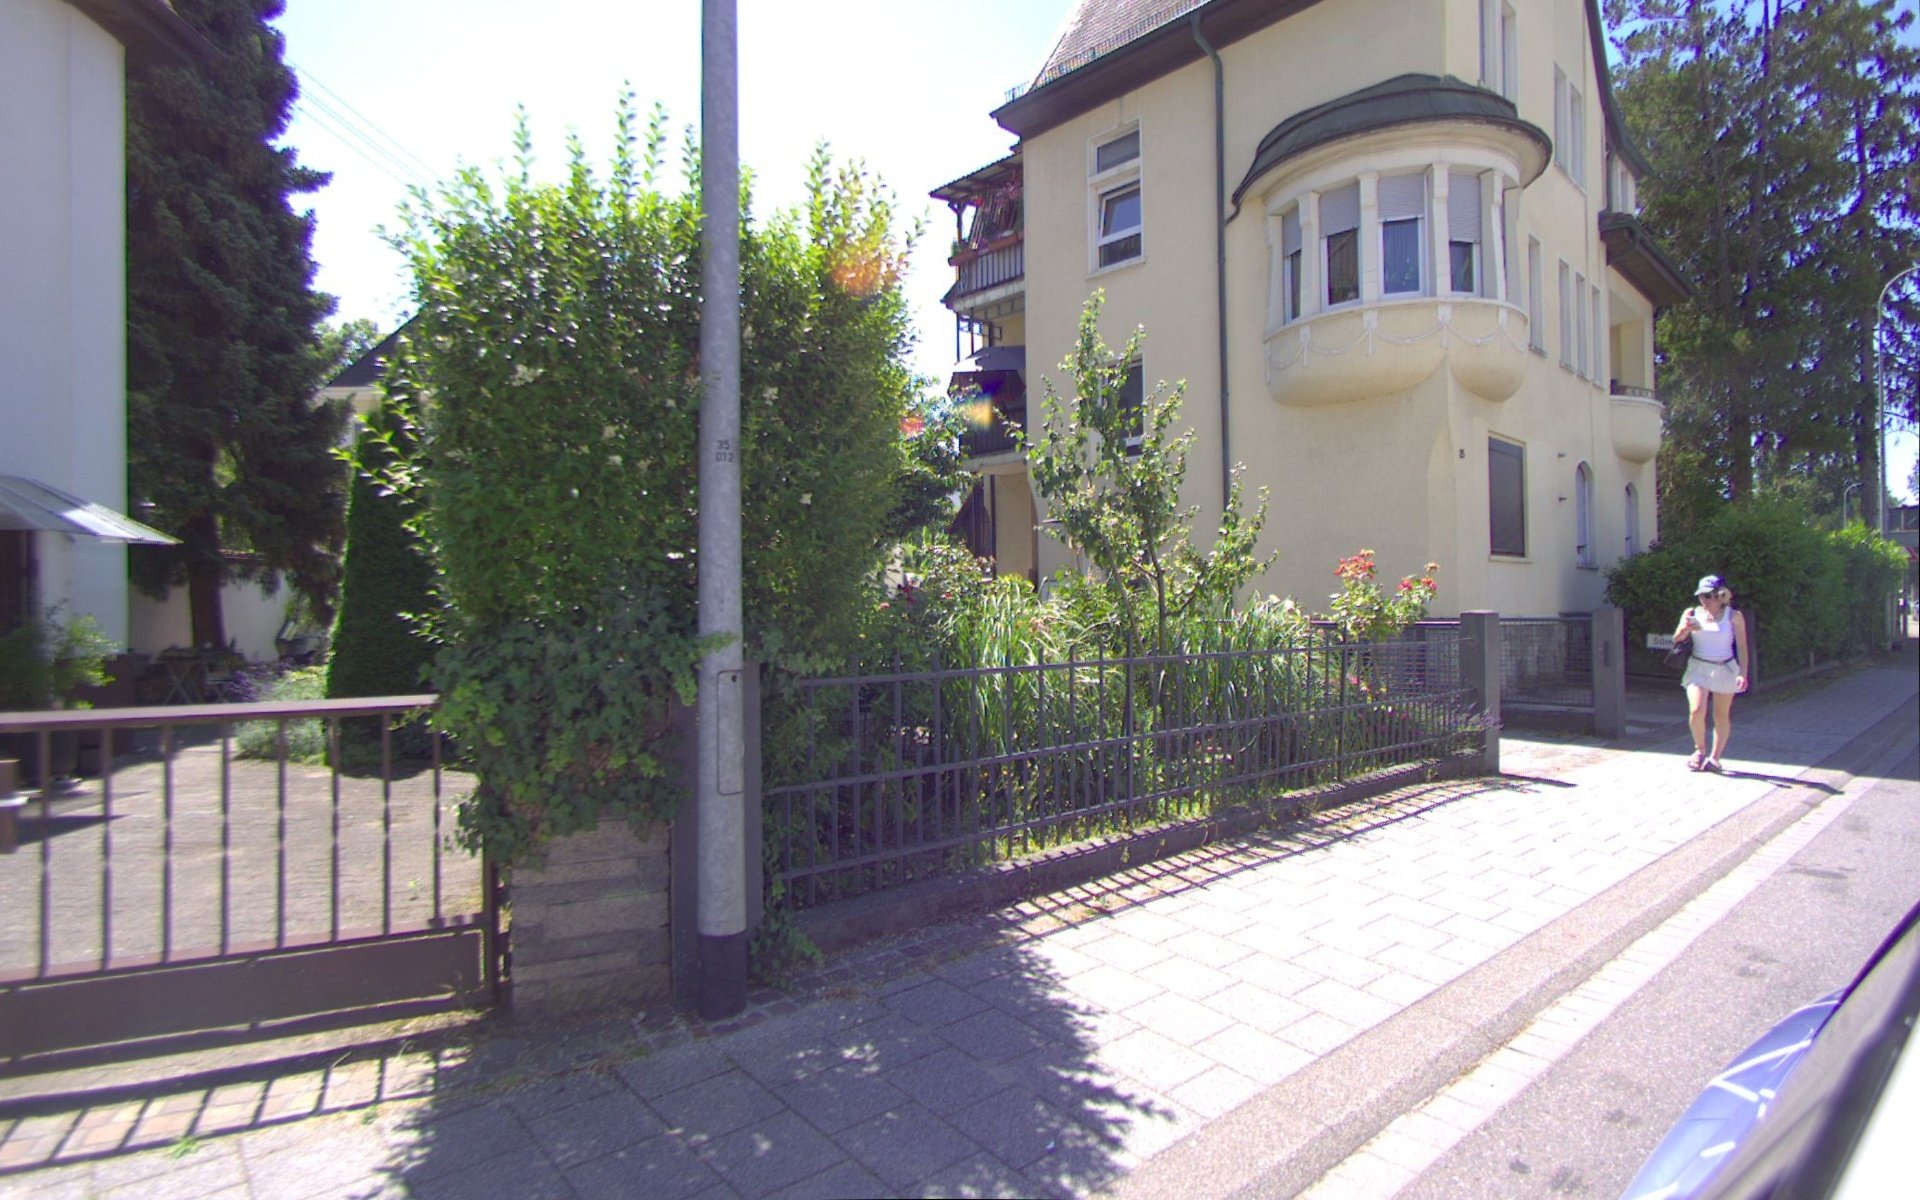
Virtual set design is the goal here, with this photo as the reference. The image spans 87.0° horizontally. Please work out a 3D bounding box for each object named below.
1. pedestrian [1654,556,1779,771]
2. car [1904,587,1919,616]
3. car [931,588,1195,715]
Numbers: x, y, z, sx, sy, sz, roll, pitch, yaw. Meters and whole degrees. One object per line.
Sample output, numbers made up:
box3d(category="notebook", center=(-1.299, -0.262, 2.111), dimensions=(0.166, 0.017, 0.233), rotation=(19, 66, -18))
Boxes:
box3d(category="pedestrian", center=(6.282, 0.487, 8.407), dimensions=(0.759, 1.663, 0.624), rotation=(-1, 5, -45))
box3d(category="car", center=(65.652, 0.070, 68.997), dimensions=(3.878, 1.801, 1.685), rotation=(-4, 1, -45))
box3d(category="car", center=(1.340, 0.626, 14.026), dimensions=(1.738, 1.505, 3.330), rotation=(-1, 0, -42))
